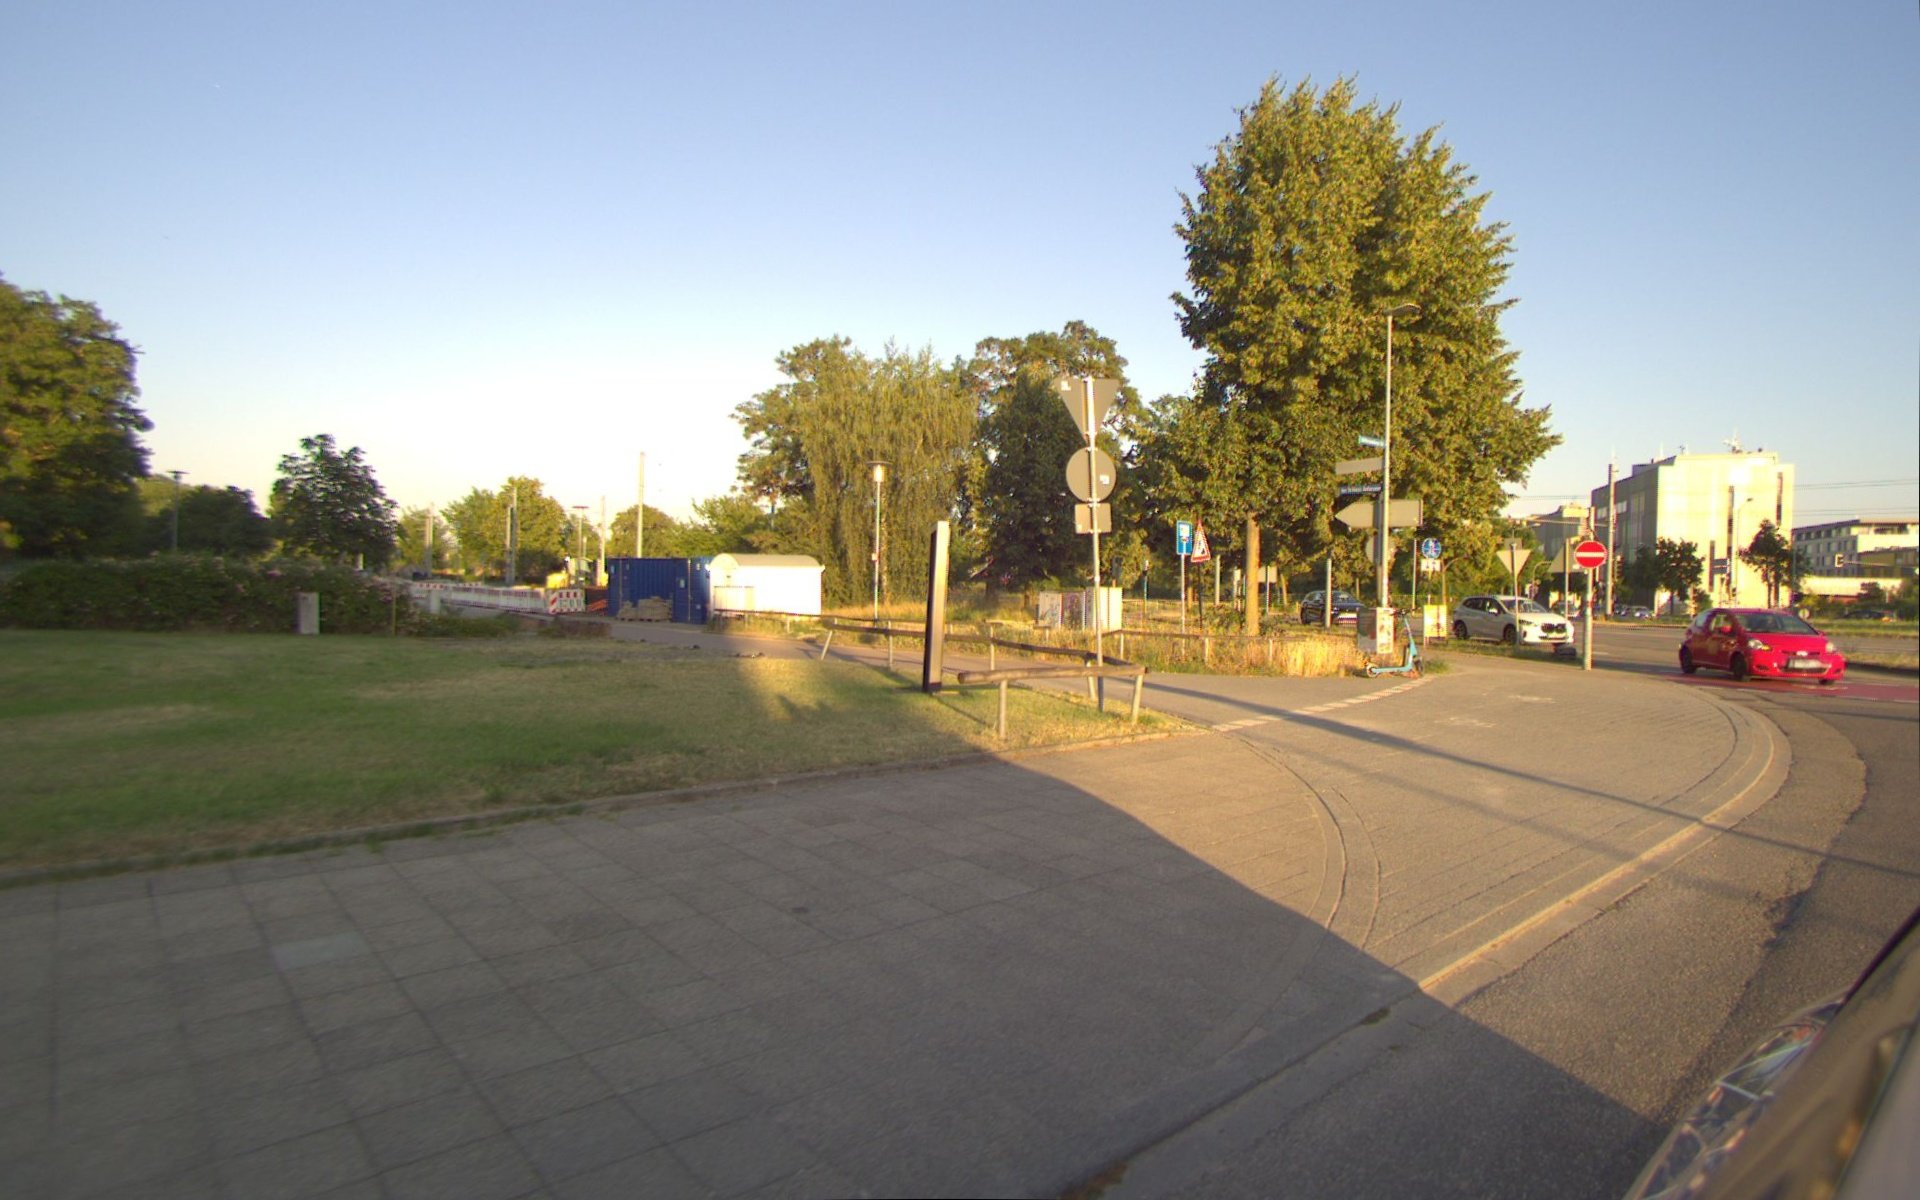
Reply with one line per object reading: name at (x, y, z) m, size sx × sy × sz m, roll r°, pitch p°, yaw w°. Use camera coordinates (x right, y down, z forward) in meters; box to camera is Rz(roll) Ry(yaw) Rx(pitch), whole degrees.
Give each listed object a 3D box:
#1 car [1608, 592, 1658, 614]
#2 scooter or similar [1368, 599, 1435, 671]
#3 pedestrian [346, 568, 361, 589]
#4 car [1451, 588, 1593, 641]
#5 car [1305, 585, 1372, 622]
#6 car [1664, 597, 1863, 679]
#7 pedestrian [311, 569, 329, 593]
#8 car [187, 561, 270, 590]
car at (41.048, 0.148, 61.782) m, size 1.600 × 1.266 × 3.790 m, roll 1°, pitch 1°, yaw 19°
scooter or similar at (7.810, 0.610, 17.911) m, size 1.141 × 1.252 × 0.197 m, roll 0°, pitch 0°, yaw -6°
pedestrian at (-44.140, -1.550, 73.644) m, size 0.625 × 1.547 × 0.787 m, roll 1°, pitch 1°, yaw 45°
car at (18.066, 0.407, 32.805) m, size 1.755 × 1.576 × 4.416 m, roll 0°, pitch 1°, yaw -7°
car at (16.929, 0.132, 45.493) m, size 1.760 × 1.576 × 4.402 m, roll 0°, pitch 1°, yaw 6°
car at (16.426, 0.697, 20.975) m, size 1.597 × 1.430 × 4.390 m, roll 0°, pitch 1°, yaw 15°
pedestrian at (-42.674, -1.251, 67.471) m, size 0.826 × 1.547 × 1.037 m, roll 0°, pitch 1°, yaw -44°
car at (-47.156, -1.550, 65.256) m, size 4.126 × 1.780 × 1.727 m, roll 0°, pitch 1°, yaw -44°
